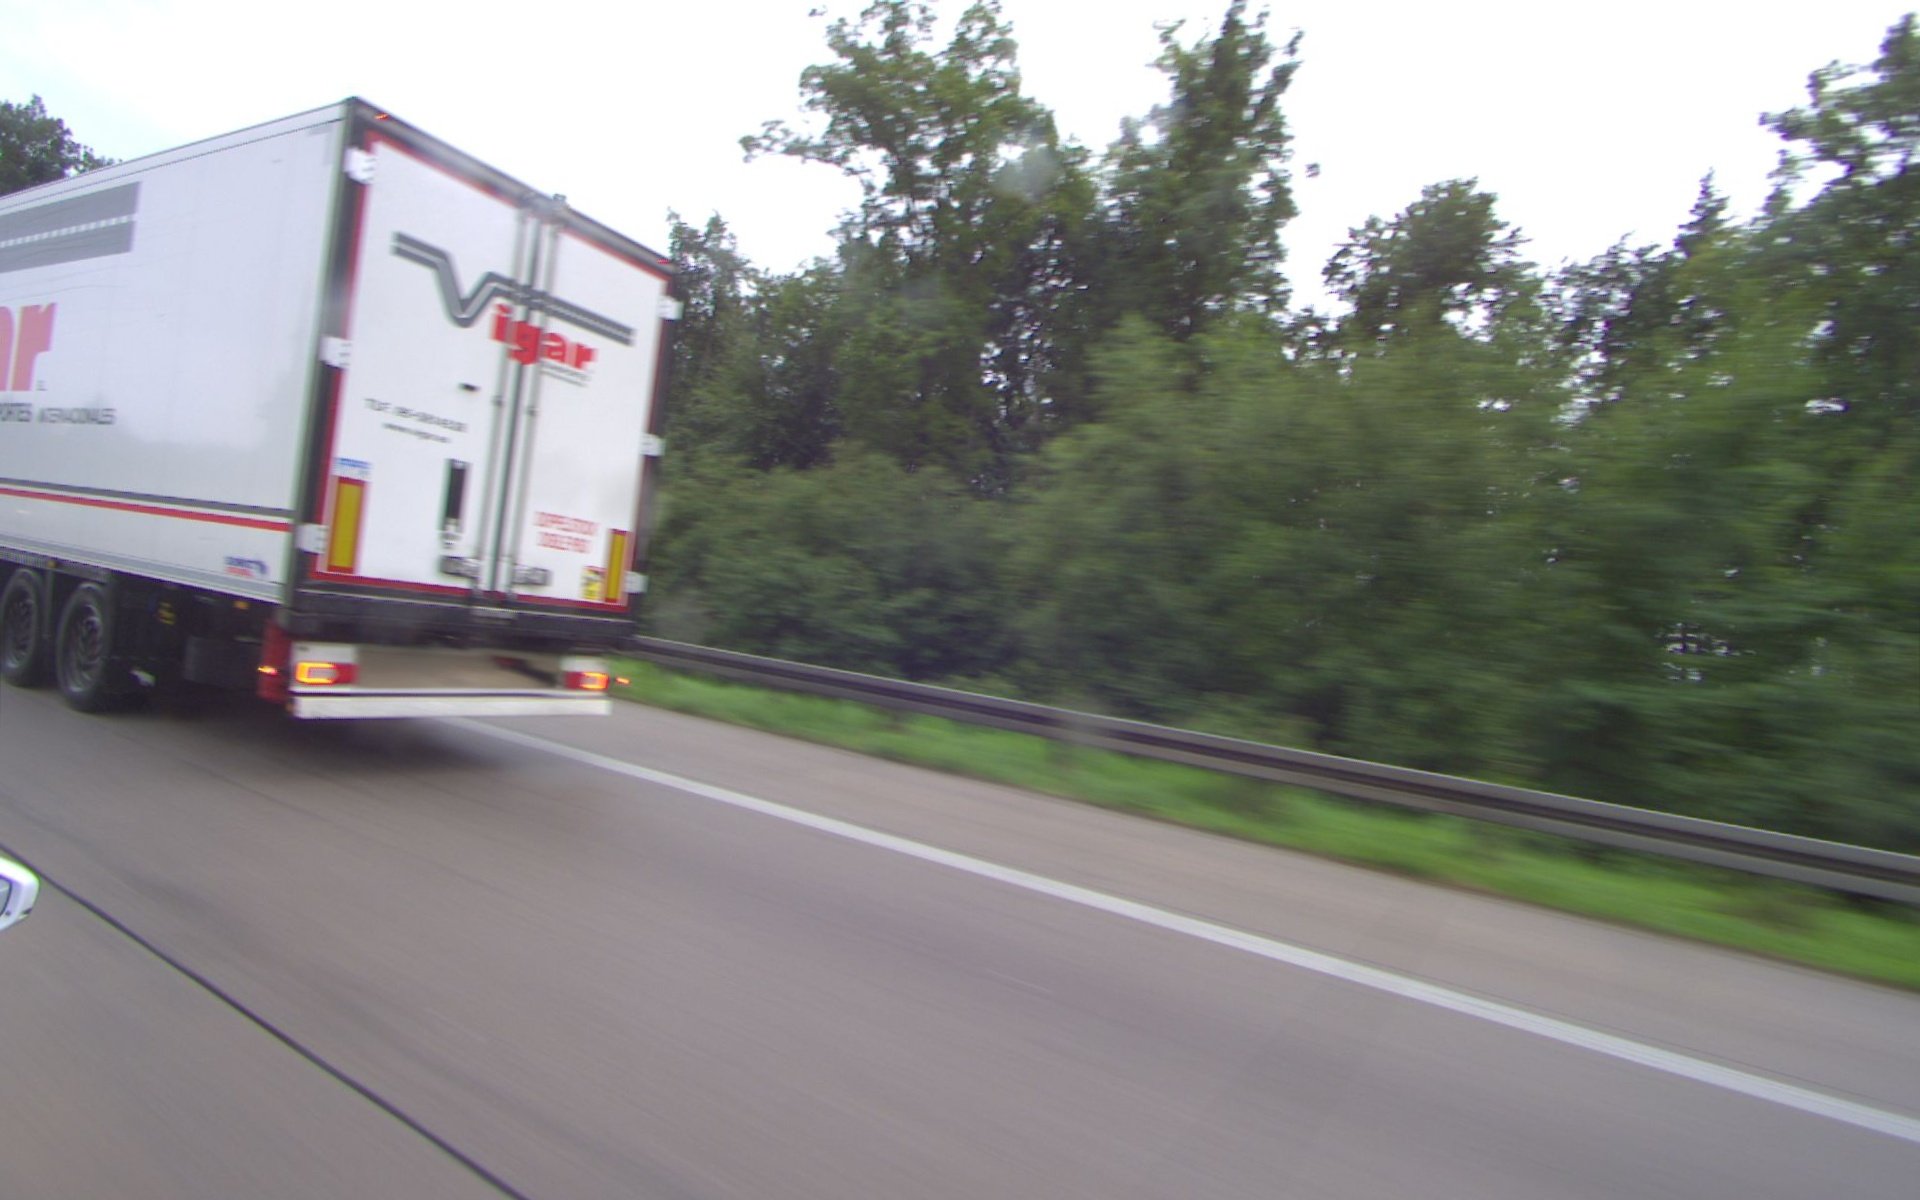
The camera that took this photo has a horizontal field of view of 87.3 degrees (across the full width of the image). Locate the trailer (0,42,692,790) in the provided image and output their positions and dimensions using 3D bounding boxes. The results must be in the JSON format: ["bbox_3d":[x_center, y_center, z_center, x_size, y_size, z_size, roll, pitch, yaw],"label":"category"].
[{"bbox_3d":[-8.745,-1.555,10.236,13.454,4.153,2.738,7,0,31],"label":"trailer"}]

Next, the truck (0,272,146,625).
[{"bbox_3d":[-14.159,-2.138,13.593,5.868,4.153,2.803,7,0,31],"label":"truck"}]
